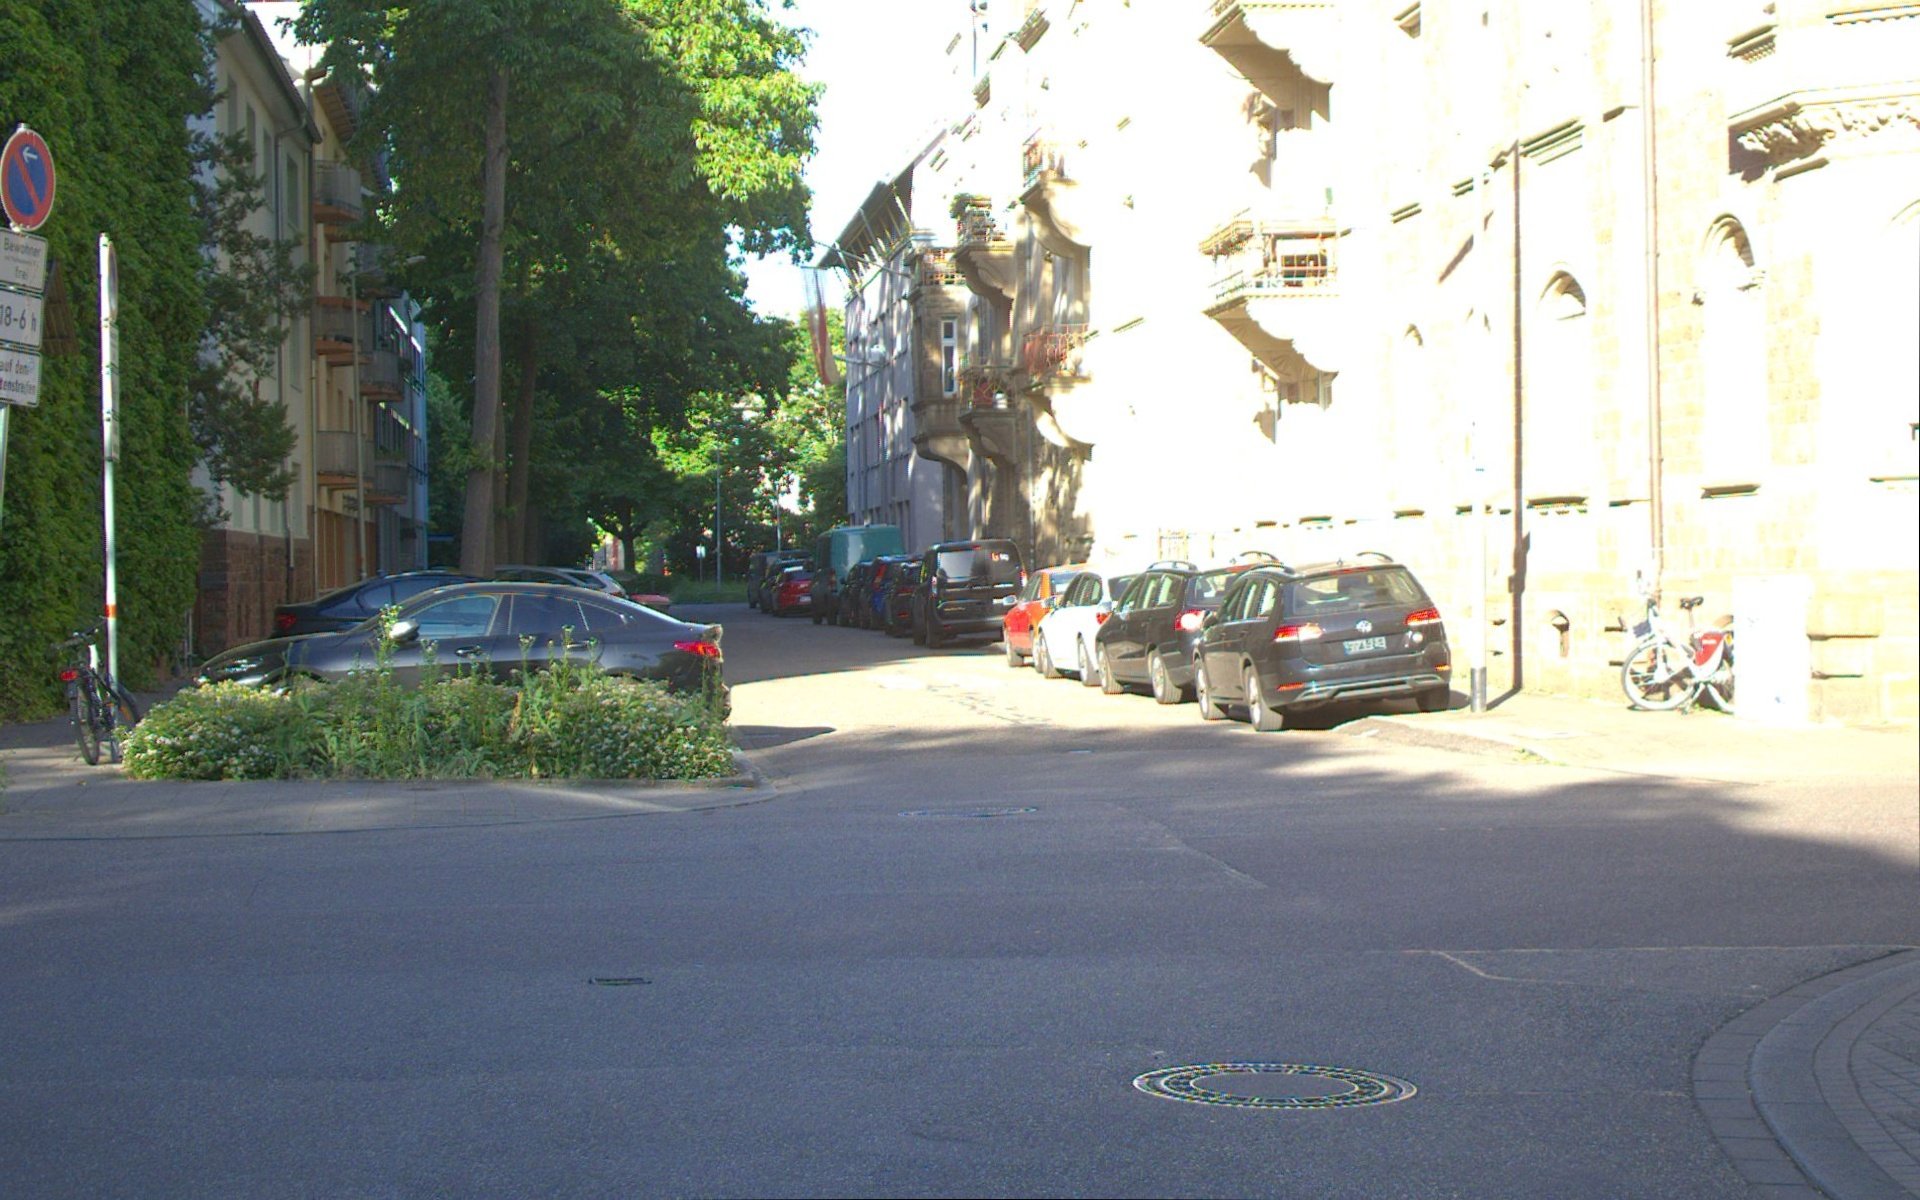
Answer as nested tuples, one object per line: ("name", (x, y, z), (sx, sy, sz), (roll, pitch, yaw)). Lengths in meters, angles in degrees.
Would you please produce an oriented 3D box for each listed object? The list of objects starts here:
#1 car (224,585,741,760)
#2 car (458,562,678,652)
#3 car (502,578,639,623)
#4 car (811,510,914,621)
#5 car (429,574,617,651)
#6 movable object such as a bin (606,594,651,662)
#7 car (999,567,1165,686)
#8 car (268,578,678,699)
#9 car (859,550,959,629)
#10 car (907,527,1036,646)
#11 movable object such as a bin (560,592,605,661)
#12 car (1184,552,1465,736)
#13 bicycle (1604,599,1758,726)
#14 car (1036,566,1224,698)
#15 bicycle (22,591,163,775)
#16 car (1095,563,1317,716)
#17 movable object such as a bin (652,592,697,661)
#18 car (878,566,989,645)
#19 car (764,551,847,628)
("car", (-4.068, 0.592, 29.462), (4.242, 1.430, 2.000), (0, 0, -8))
("car", (-6.982, 0.116, 61.144), (3.800, 1.570, 1.710), (0, 0, -10))
("car", (-10.989, 0.010, 96.924), (3.800, 1.236, 1.710), (0, 0, -8))
("car", (-2.456, -0.850, 85.236), (2.165, 2.681, 4.792), (0, 0, -6))
("car", (-9.024, 0.243, 70.980), (3.800, 1.570, 1.710), (0, 0, -8))
("movable object such as a bin", (-5.123, 0.431, 53.081), (0.629, 1.049, 0.568), (0, 0, -12))
("car", (1.639, 0.341, 47.482), (1.737, 1.576, 4.001), (0, 0, -6))
("car", (-5.899, 0.446, 41.802), (4.833, 1.430, 1.710), (0, 0, -8))
("car", (-1.142, -0.225, 75.005), (1.802, 1.673, 4.001), (0, 0, -6))
("car", (0.165, -0.243, 59.852), (1.802, 1.997, 4.001), (0, 0, -6))
("movable object such as a bin", (-5.811, 0.406, 52.911), (0.629, 1.049, 0.568), (0, 0, -12))
("car", (3.257, 0.365, 31.424), (1.737, 1.576, 4.001), (0, 0, -6))
("bicycle", (5.841, 0.490, 27.926), (0.514, 0.994, 1.576), (0, 0, -18))
("car", (2.068, 0.366, 42.943), (1.737, 1.576, 4.001), (0, 0, -6))
("bicycle", (-6.316, 0.586, 25.091), (0.563, 1.264, 1.603), (-2, 1, 1))
("car", (2.626, 0.396, 37.559), (1.737, 1.576, 4.001), (0, 0, -6))
("movable object such as a bin", (-4.425, 0.408, 53.181), (0.629, 1.049, 0.568), (0, 0, -12))
("car", (-0.550, 0.098, 68.233), (1.802, 1.509, 4.001), (0, 0, -6))
("car", (-4.626, -0.328, 102.255), (2.165, 2.229, 4.792), (0, 0, -6))
